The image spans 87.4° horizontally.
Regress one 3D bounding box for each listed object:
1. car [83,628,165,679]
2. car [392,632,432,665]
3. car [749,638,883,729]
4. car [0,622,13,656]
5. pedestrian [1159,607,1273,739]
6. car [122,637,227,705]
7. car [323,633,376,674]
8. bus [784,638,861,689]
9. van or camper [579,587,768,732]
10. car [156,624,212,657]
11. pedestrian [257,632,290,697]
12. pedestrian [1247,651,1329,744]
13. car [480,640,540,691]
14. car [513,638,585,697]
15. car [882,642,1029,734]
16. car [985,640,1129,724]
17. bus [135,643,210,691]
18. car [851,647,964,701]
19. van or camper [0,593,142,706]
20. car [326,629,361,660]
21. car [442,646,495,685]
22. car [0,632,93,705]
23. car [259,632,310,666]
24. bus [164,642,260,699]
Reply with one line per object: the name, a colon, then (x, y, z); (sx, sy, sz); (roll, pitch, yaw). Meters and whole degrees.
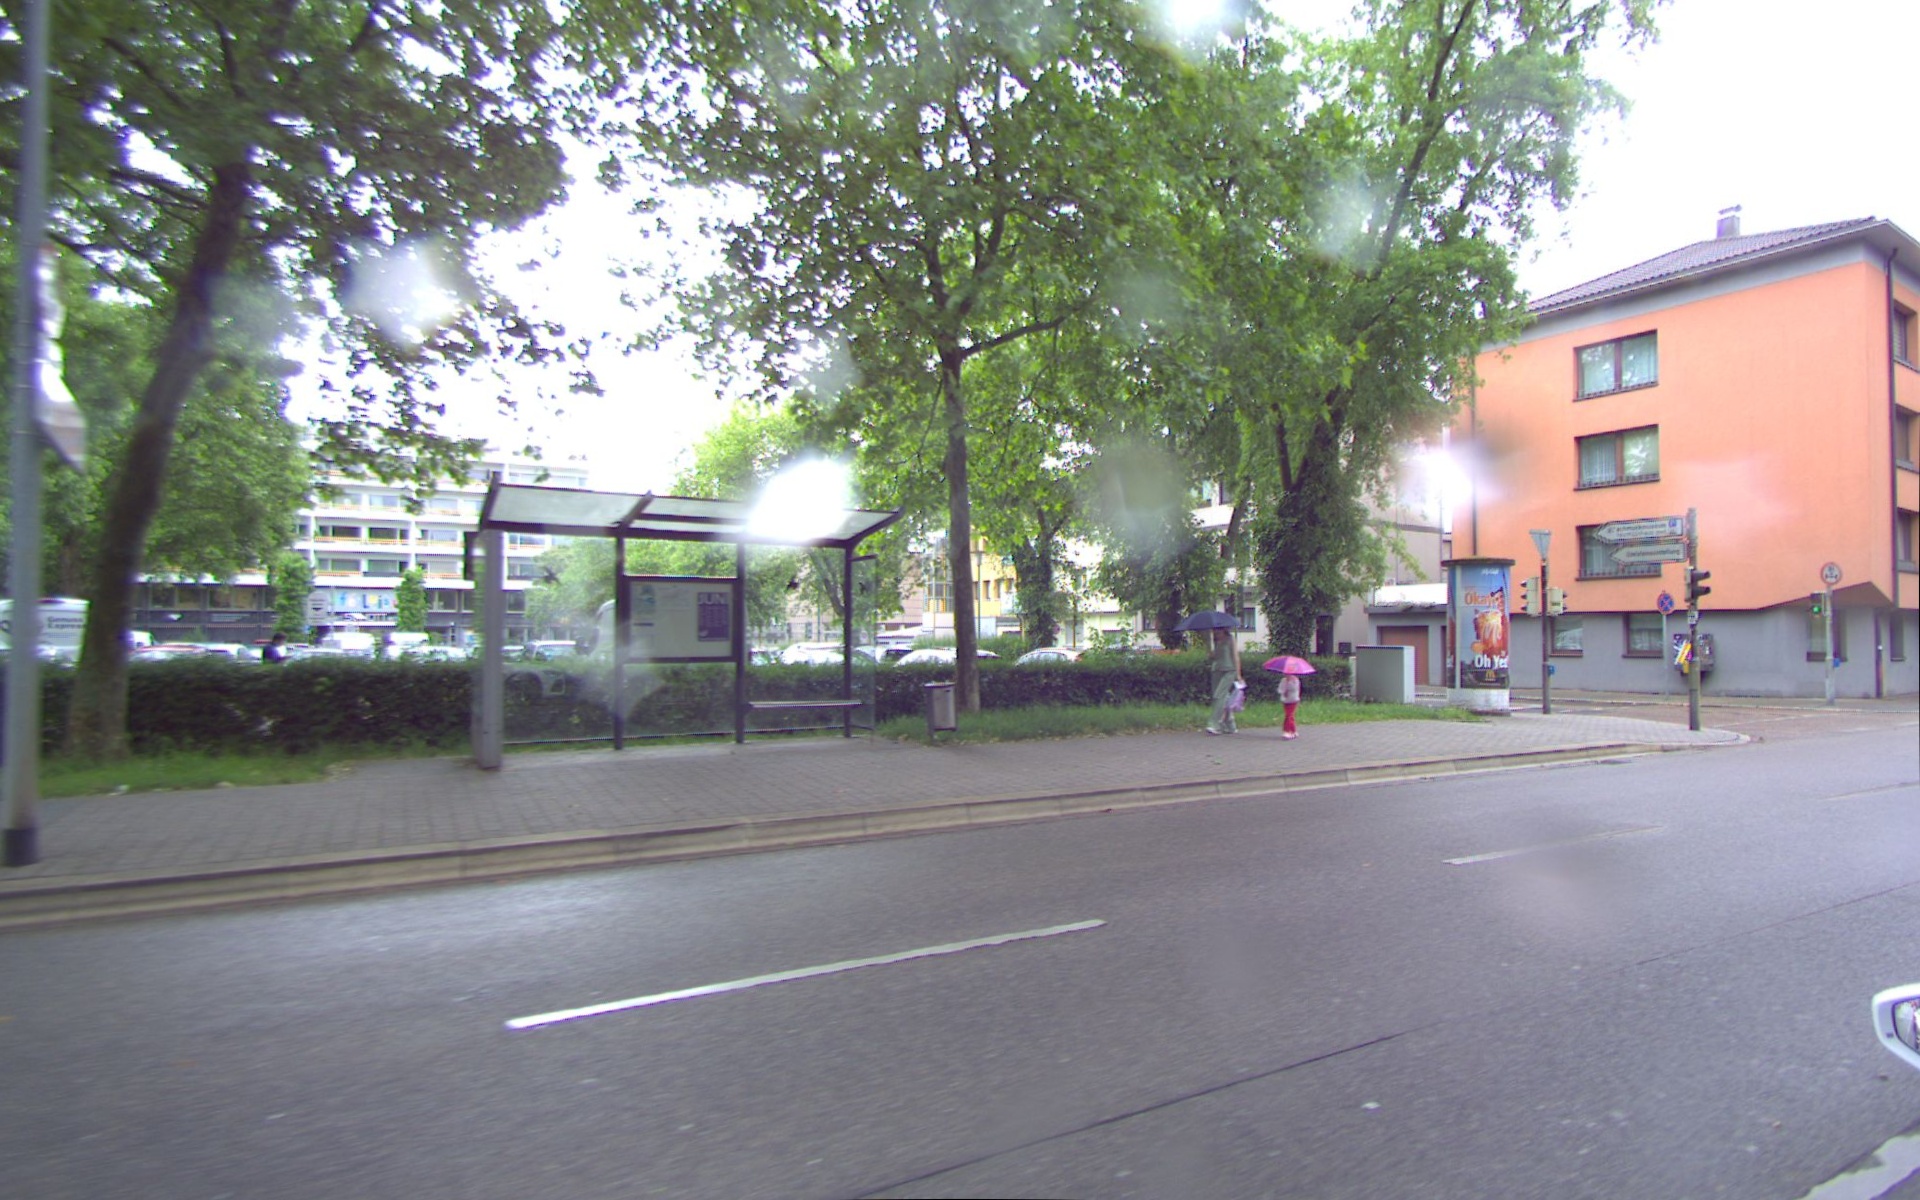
car: (-31.455, 2.017, 37.885); (1.797, 1.796, 3.902); (1, -3, -32)
car: (-28.957, 2.559, 53.048); (1.623, 1.544, 3.174); (2, 0, -32)
car: (-2.955, 1.608, 20.171); (1.492, 1.544, 3.174); (2, 0, -32)
car: (-42.667, 1.718, 43.771); (1.412, 1.447, 2.941); (1, 0, -31)
pedestrian: (3.603, 0.994, 14.164); (1.195, 1.765, 0.987); (1, 0, -31)
car: (-17.975, 1.594, 23.102); (1.375, 1.454, 3.248); (1, -3, -29)
car: (-22.838, 1.994, 37.642); (1.587, 1.446, 3.293); (2, -3, -31)
bus: (-4.210, 1.911, 30.501); (1.364, 1.451, 2.776); (2, -3, -31)
van or camper: (-5.167, 1.026, 17.676); (2.026, 2.198, 4.458); (2, -3, -32)
car: (-35.914, 1.900, 46.549); (1.587, 1.446, 3.293); (2, -3, -31)
pedestrian: (-13.235, 1.233, 19.363); (0.481, 1.229, 0.434); (2, 0, -37)
pedestrian: (4.462, 1.303, 13.661); (0.817, 1.190, 0.681); (1, 0, -31)
car: (-13.657, 1.960, 30.438); (1.375, 1.454, 3.248); (1, -3, -29)
car: (-10.869, 1.747, 26.473); (1.375, 1.454, 3.248); (1, -3, -29)
car: (-0.160, 1.699, 20.160); (1.492, 1.544, 3.174); (2, 0, -32)
car: (2.057, 1.738, 22.035); (1.492, 1.544, 3.174); (2, 0, -32)
bus: (-27.324, 2.301, 34.946); (1.587, 1.559, 3.403); (2, -3, -31)
car: (-1.704, 2.256, 31.267); (1.799, 1.535, 3.965); (2, -3, -33)
van or camper: (-22.452, 1.250, 25.365); (2.074, 2.570, 4.391); (2, -3, -31)
car: (-34.863, 2.500, 56.829); (1.622, 1.544, 3.174); (1, 0, -32)
car: (-19.278, 2.524, 39.318); (1.587, 1.446, 3.293); (2, -3, -31)
car: (-20.345, 1.463, 21.748); (1.680, 1.467, 3.406); (1, -3, -29)
car: (-33.226, 2.387, 49.501); (1.818, 1.444, 3.799); (2, 0, -31)
bus: (-19.834, 1.844, 26.758); (1.617, 1.406, 3.542); (2, -3, -31)
